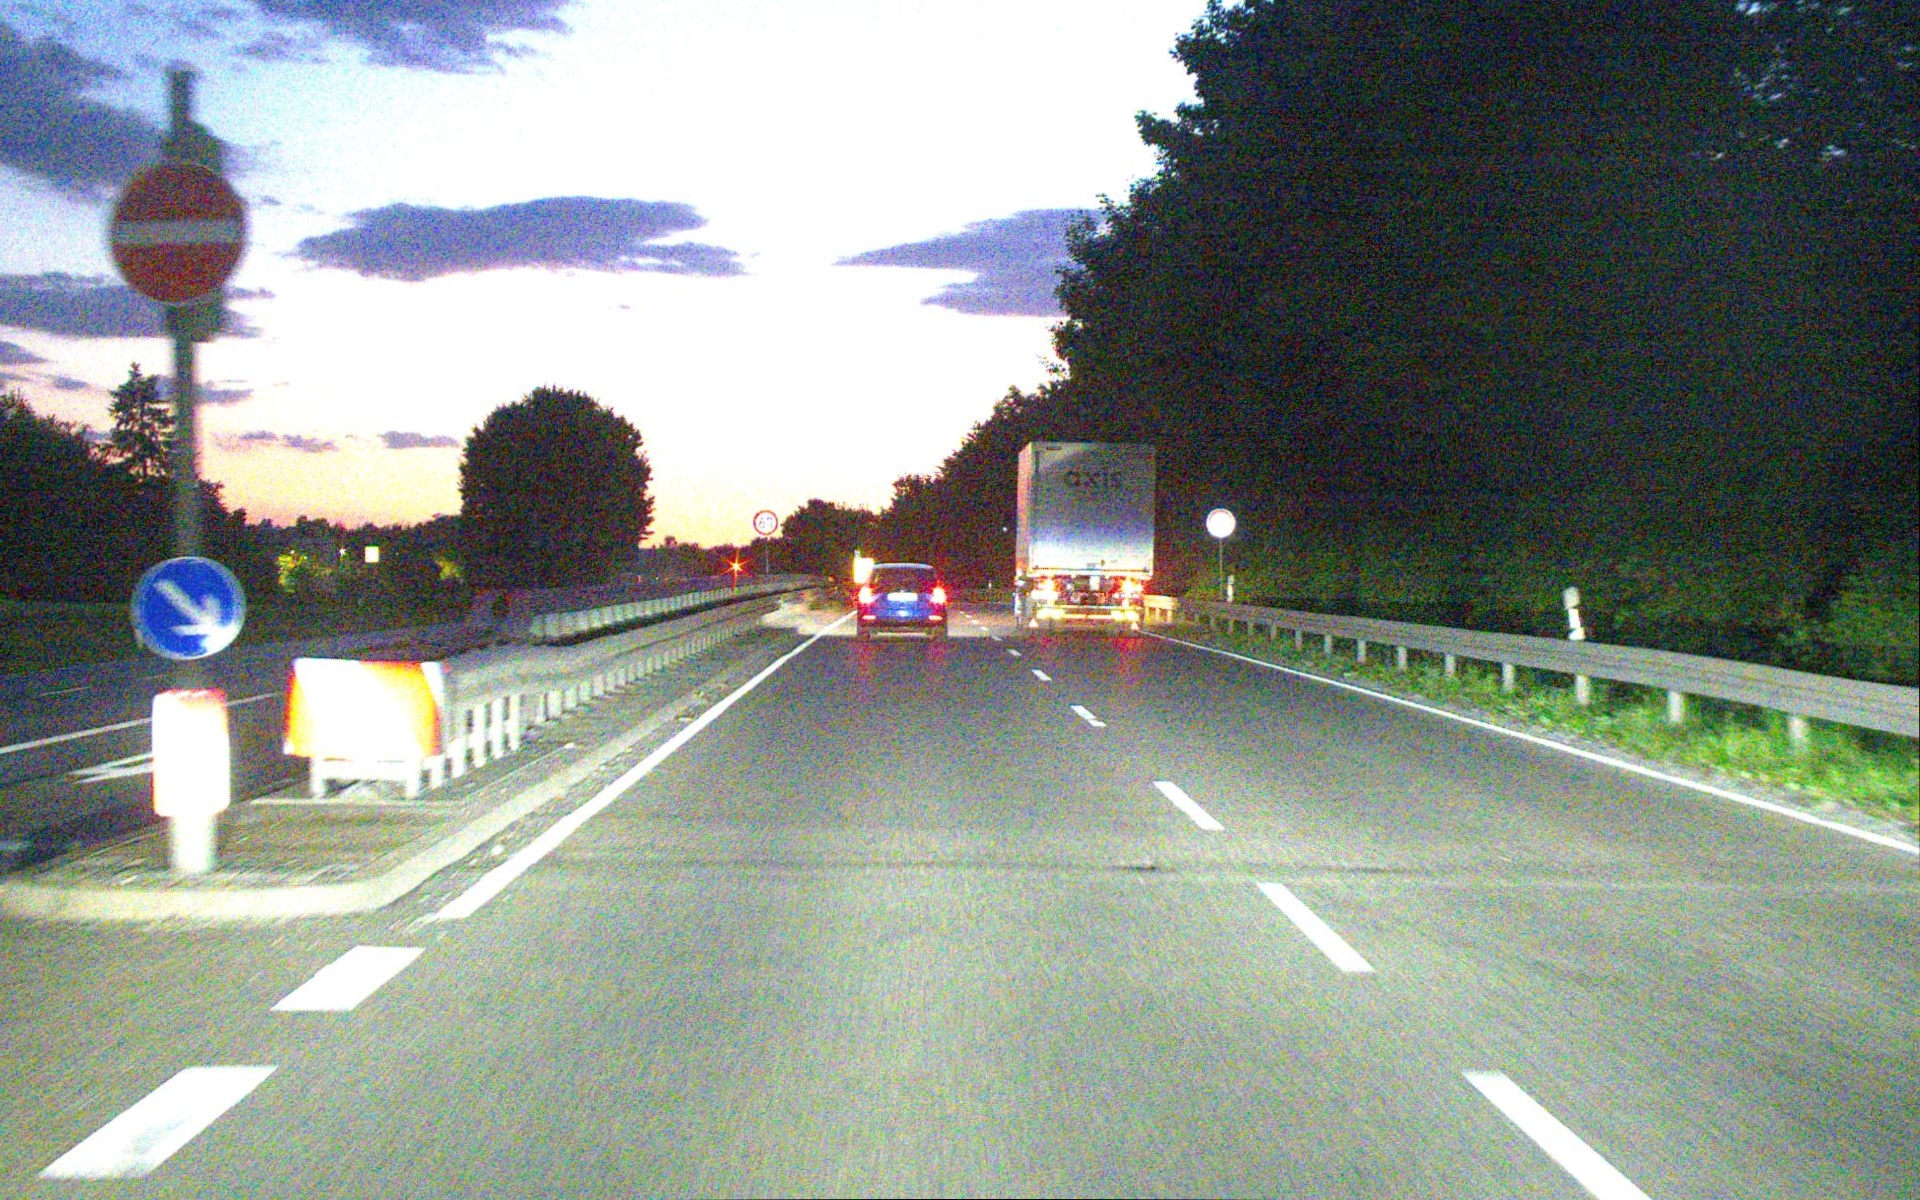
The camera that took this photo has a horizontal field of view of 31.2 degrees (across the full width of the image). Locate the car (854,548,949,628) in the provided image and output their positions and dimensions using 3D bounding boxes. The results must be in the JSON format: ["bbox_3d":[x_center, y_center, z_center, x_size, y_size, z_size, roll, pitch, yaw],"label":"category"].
[{"bbox_3d":[-1.136,-0.246,64.974,1.695,1.447,3.915,1,1,-2],"label":"car"}]

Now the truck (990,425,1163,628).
[{"bbox_3d":[2.416,-1.602,76.104,2.883,4.092,12.685,1,1,-2],"label":"truck"}]
